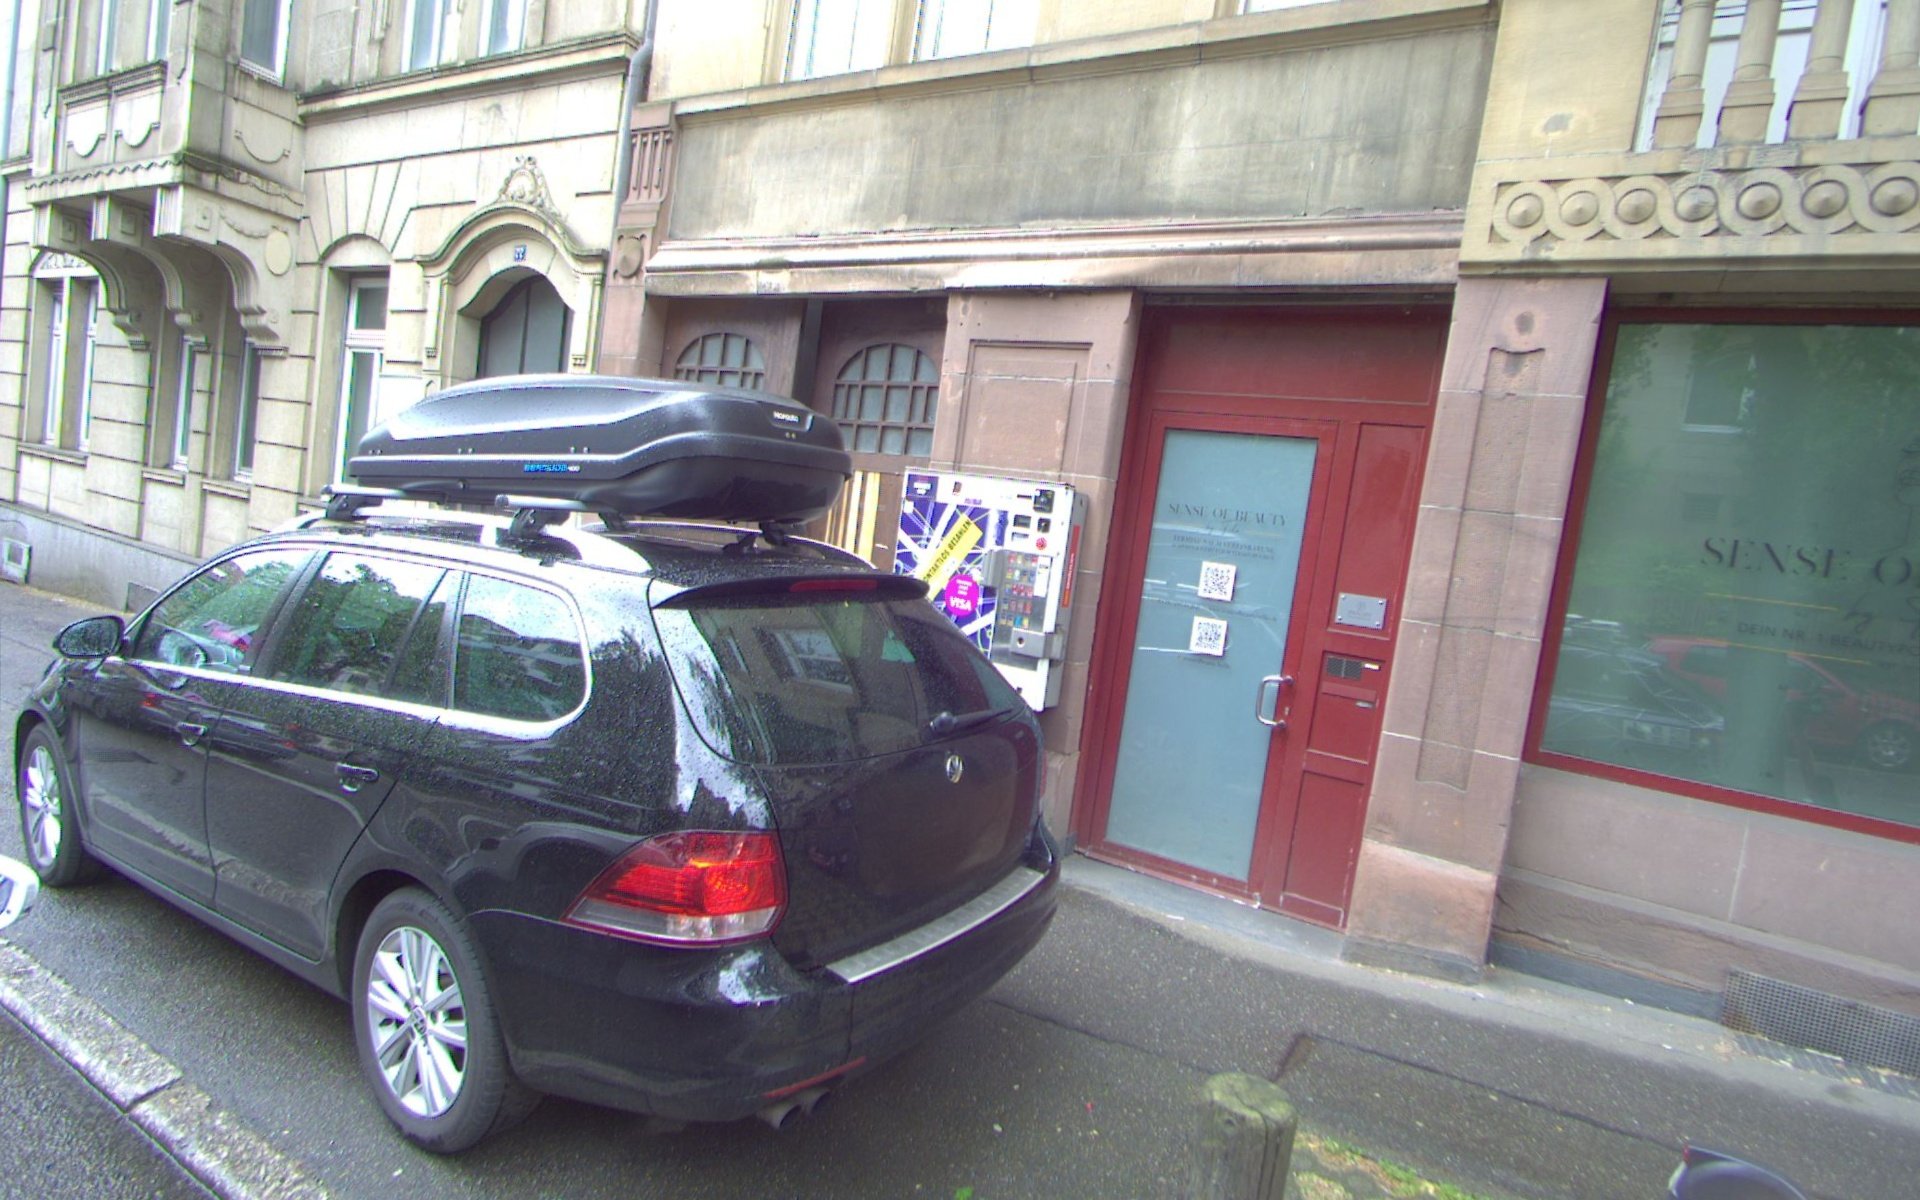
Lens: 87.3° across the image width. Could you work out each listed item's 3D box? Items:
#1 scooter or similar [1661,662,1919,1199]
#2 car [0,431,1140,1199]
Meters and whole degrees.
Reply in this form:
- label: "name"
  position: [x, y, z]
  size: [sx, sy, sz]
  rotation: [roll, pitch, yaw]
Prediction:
- label: "scooter or similar"
  position: [2.167, 0.866, 1.916]
  size: [1.183, 1.336, 0.593]
  rotation: [7, 3, 32]
- label: "car"
  position: [-1.663, 0.388, 3.488]
  size: [4.031, 1.675, 1.757]
  rotation: [7, 6, 32]
